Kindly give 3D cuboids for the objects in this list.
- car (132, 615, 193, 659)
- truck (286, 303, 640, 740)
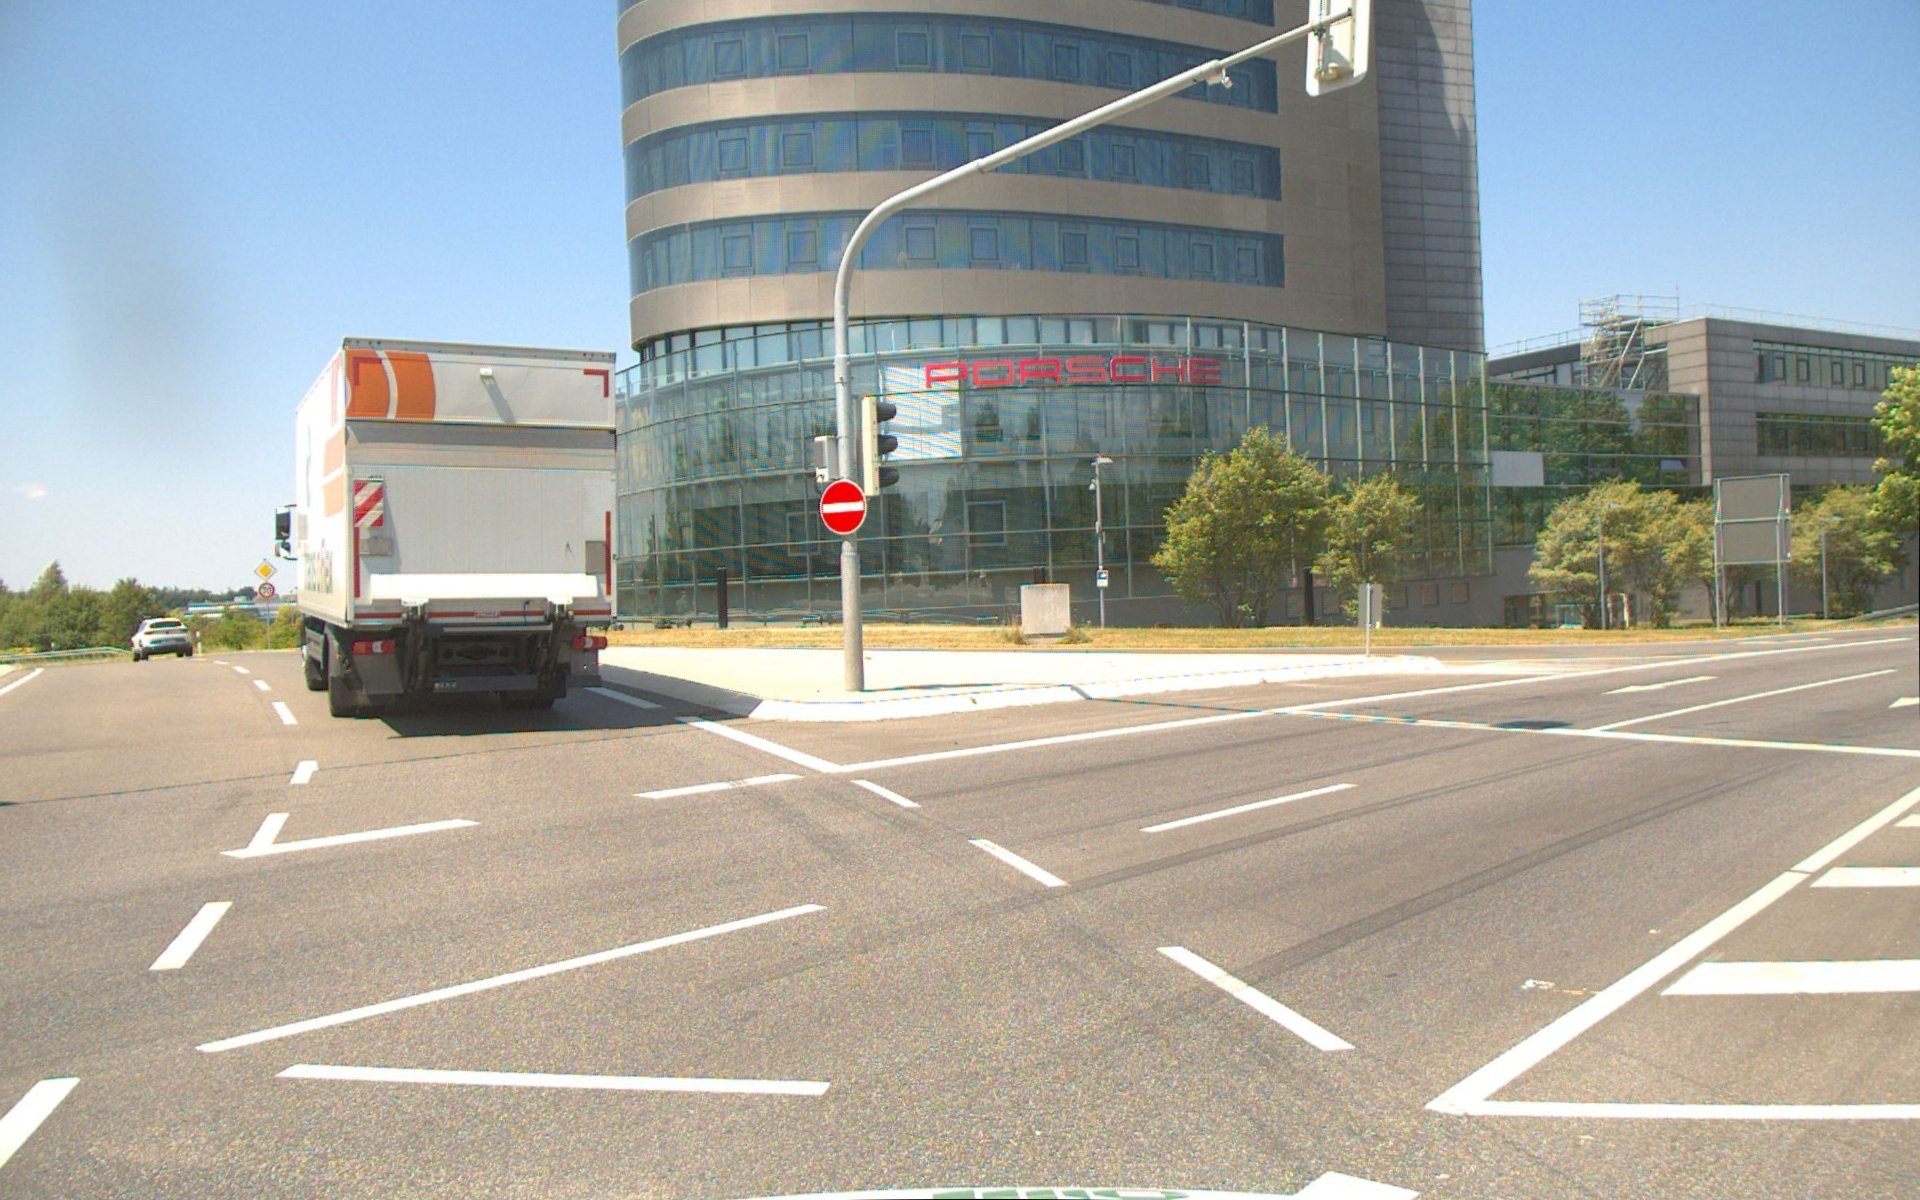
[{"bbox_3d":[-30.932,1.400,64.105,1.784,1.584,3.958,-1,1,-31],"label":"car"},{"bbox_3d":[-6.302,-0.761,19.697,2.734,3.927,9.296,-1,1,-25],"label":"truck"}]
